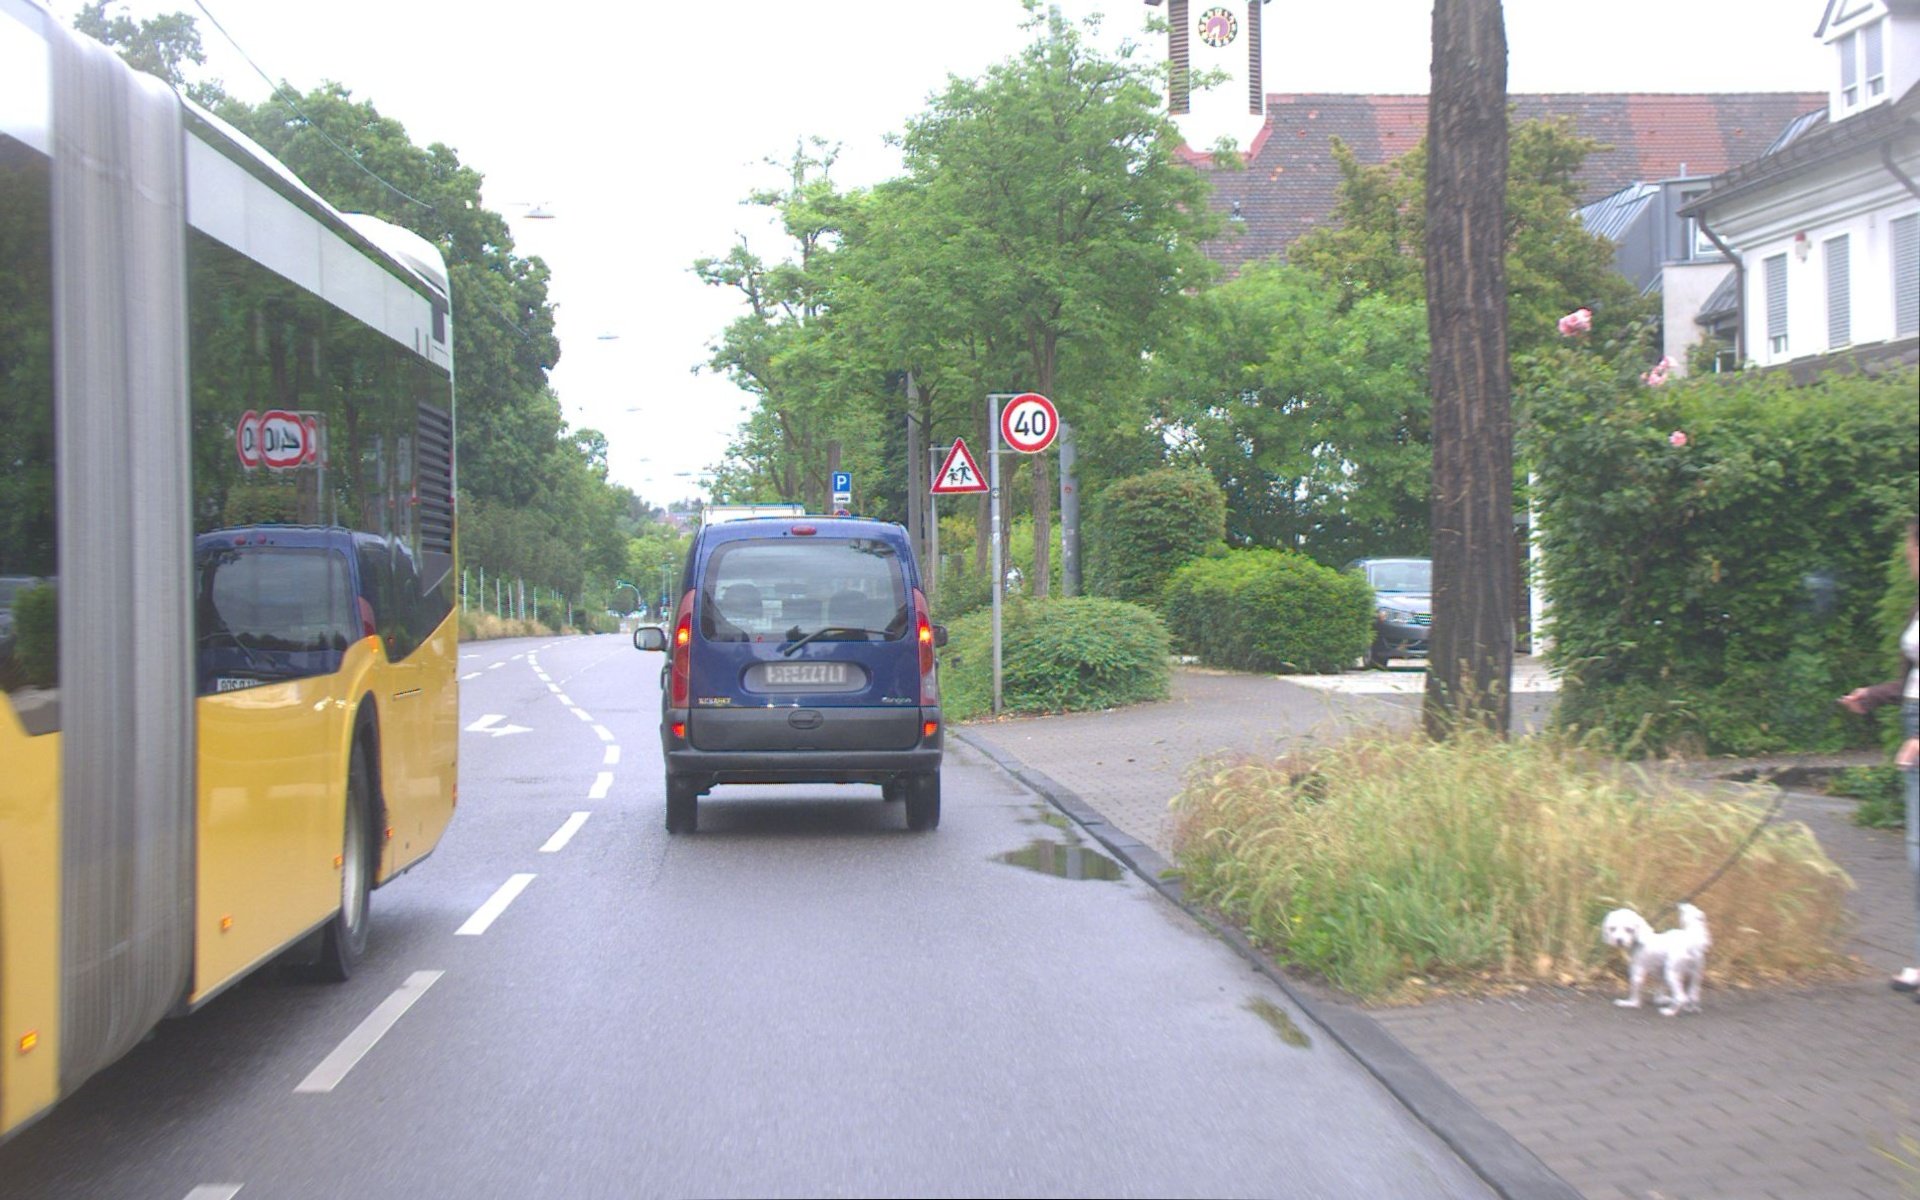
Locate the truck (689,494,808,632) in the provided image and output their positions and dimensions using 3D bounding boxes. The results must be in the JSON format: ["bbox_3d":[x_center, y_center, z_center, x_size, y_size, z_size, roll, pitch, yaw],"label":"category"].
[{"bbox_3d":[-5.526,-0.939,88.898,2.731,3.375,6.686,-1,0,-6],"label":"truck"}]

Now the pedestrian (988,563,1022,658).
[{"bbox_3d":[0.815,0.188,61.966,0.561,1.702,0.516,-1,0,4],"label":"pedestrian"}]

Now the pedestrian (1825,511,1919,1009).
[{"bbox_3d":[3.028,0.492,10.788,0.481,1.529,0.439,0,0,-5],"label":"pedestrian"}]

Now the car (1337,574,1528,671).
[{"bbox_3d":[5.961,0.258,43.767,1.831,1.172,4.000,0,0,-1],"label":"car"}]

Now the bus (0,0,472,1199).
[{"bbox_3d":[-3.447,-0.151,11.818,2.594,3.147,8.636,0,0,-2],"label":"bus"}]

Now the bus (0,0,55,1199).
[{"bbox_3d":[-3.144,0.098,2.880,2.643,3.034,9.231,0,0,-2],"label":"bus"}]

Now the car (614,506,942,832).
[{"bbox_3d":[-1.113,0.372,21.265,1.808,1.791,4.000,-1,0,-3],"label":"car"}]
